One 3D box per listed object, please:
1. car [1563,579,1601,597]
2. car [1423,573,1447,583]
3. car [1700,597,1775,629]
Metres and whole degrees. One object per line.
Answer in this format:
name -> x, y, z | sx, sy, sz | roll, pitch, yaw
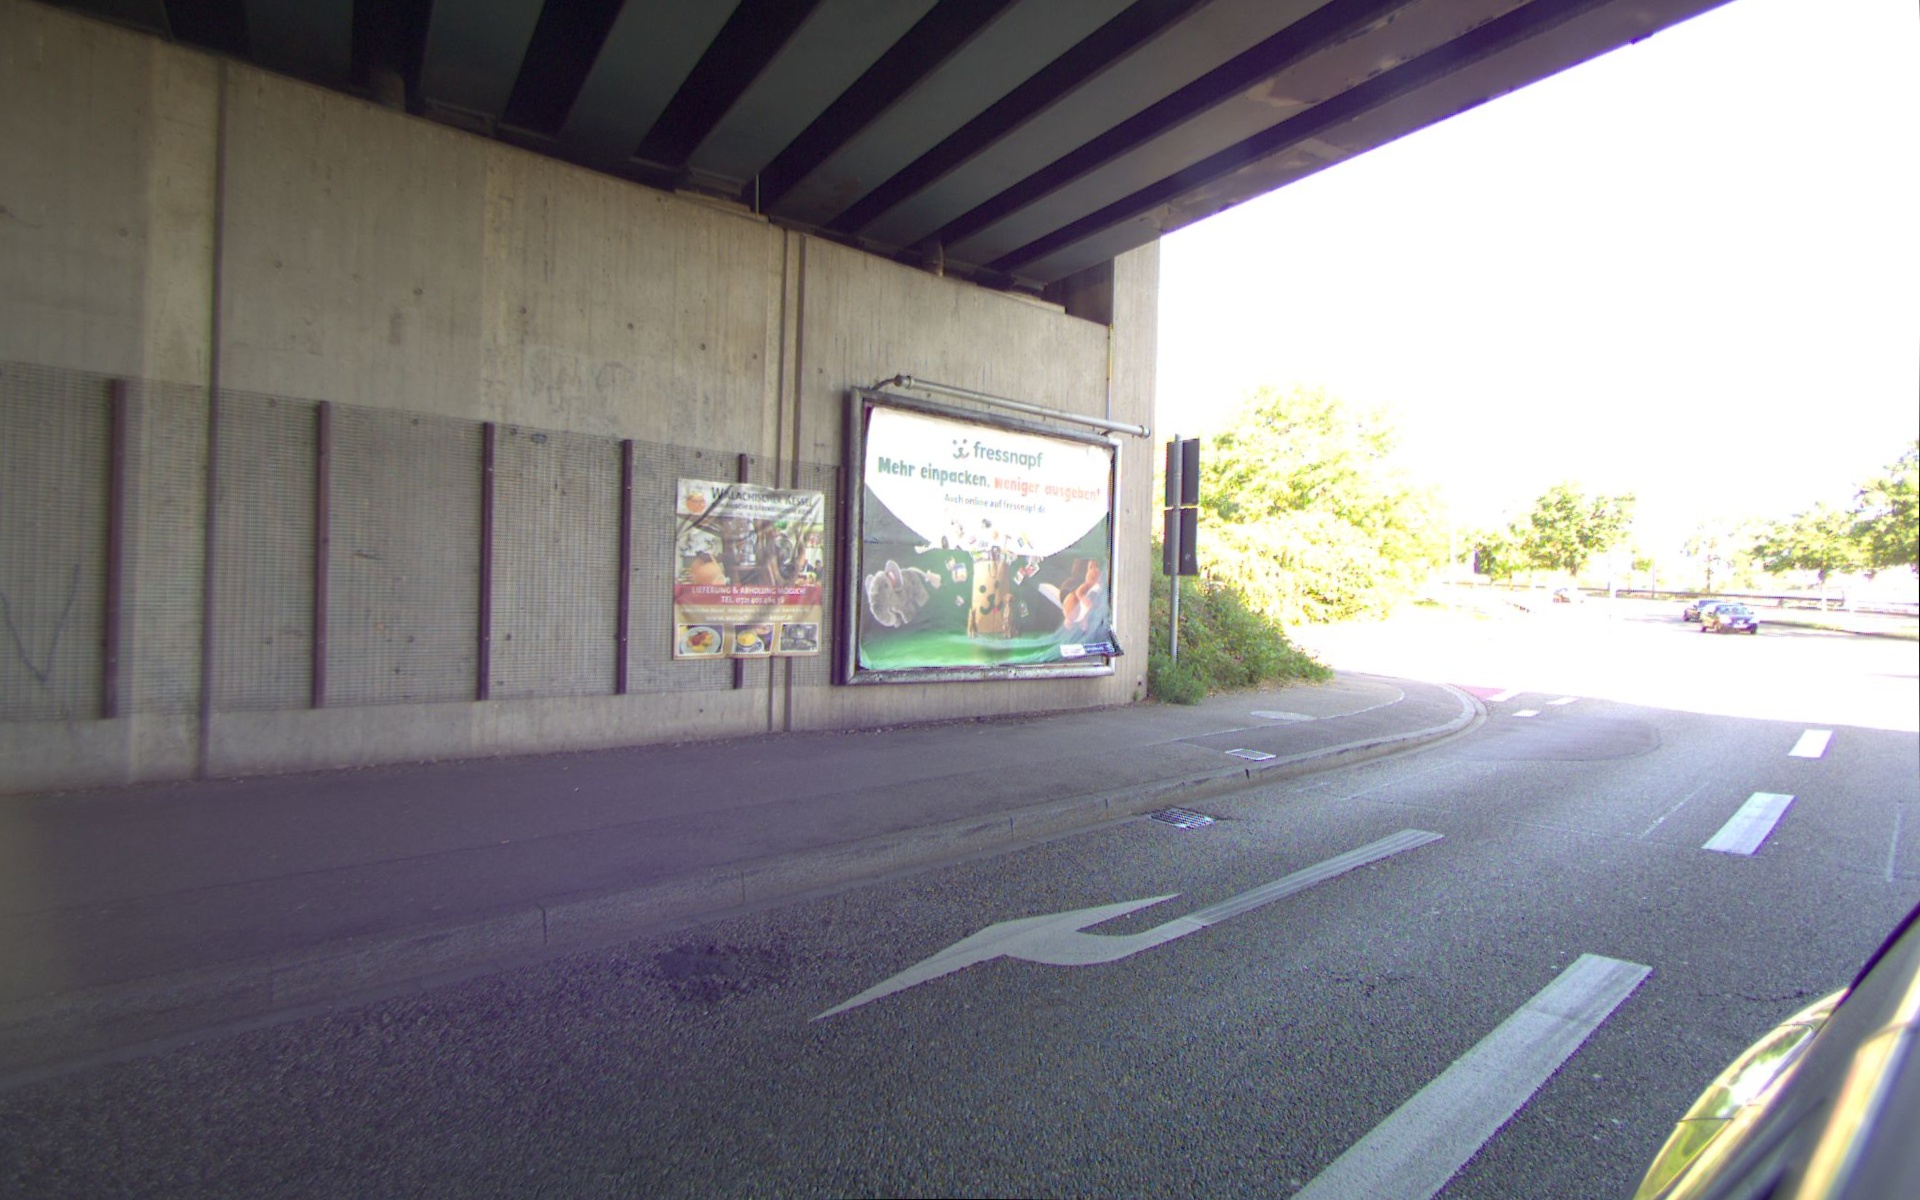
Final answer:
car -> 55.032, -1.076, 89.645 | 1.832, 1.498, 4.208 | 0, 1, 17
car -> 66.968, -3.132, 142.791 | 1.717, 1.297, 4.177 | 3, 2, 6
car -> 38.076, 0.632, 49.694 | 1.718, 1.438, 4.287 | 2, 0, 21
